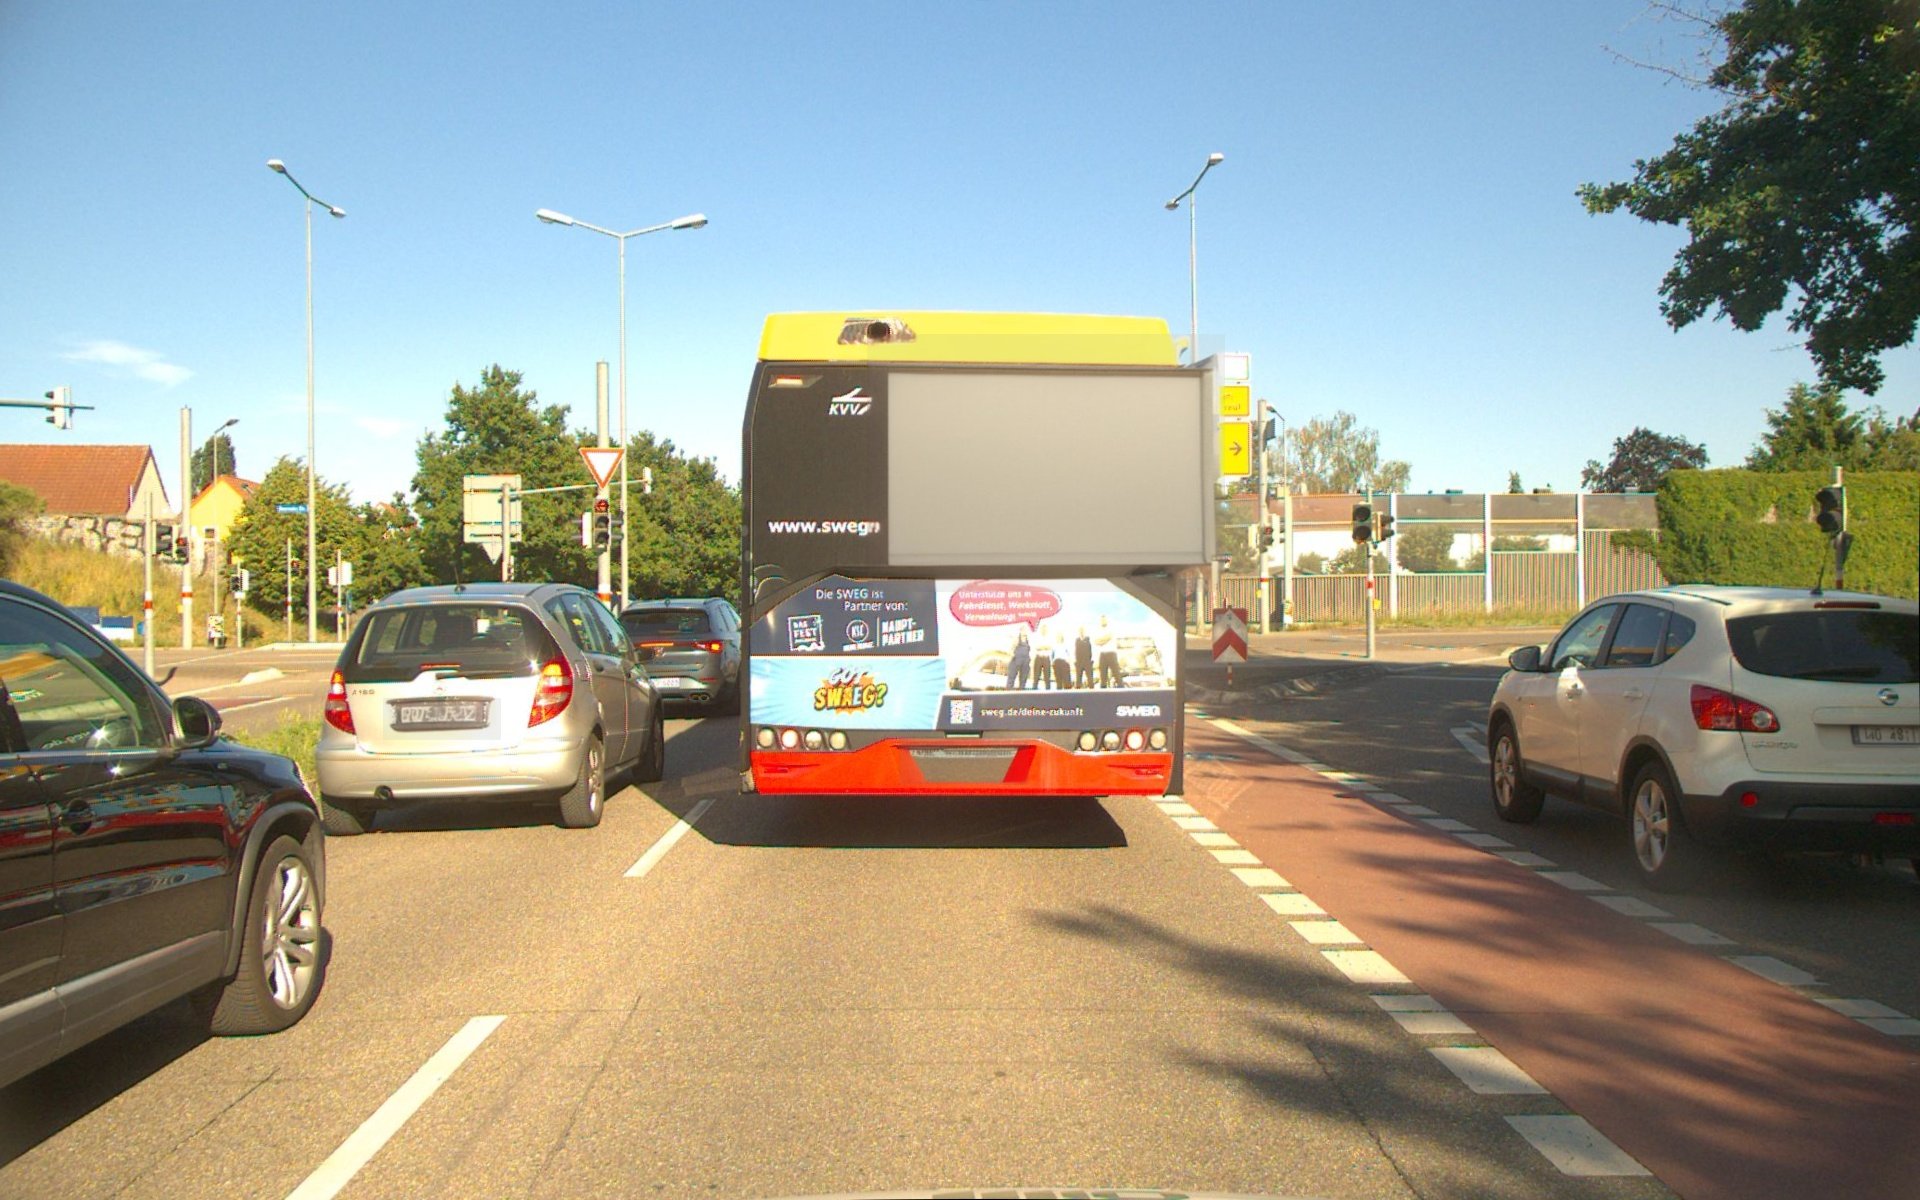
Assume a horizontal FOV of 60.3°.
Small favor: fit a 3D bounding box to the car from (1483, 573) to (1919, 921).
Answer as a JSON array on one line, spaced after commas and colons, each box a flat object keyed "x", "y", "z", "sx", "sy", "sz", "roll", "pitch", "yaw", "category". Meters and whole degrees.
[{"x": 4.532, "y": 0.687, "z": 9.856, "sx": 1.681, "sy": 1.635, "sz": 4.069, "roll": 1, "pitch": 0, "yaw": 2, "category": "car"}]

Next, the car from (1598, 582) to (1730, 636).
[{"x": 25.228, "y": 0.318, "z": 59.347, "sx": 3.907, "sy": 1.847, "sz": 1.922, "roll": 1, "pitch": 0, "yaw": -3, "category": "car"}]

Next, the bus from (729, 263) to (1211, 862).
[{"x": 0.022, "y": -0.254, "z": 14.902, "sx": 2.589, "sy": 3.222, "sz": 11.860, "roll": 0, "pitch": 0, "yaw": 0, "category": "bus"}]

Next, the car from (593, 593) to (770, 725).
[{"x": -3.449, "y": 0.676, "z": 21.068, "sx": 1.658, "sy": 1.484, "sz": 3.750, "roll": -2, "pitch": 0, "yaw": -1, "category": "car"}]

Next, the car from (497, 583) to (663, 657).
[{"x": -8.430, "y": 0.423, "z": 37.069, "sx": 1.726, "sy": 1.552, "sz": 4.082, "roll": -1, "pitch": 0, "yaw": 19, "category": "car"}]

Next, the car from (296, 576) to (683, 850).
[{"x": -3.217, "y": 0.681, "z": 12.140, "sx": 1.725, "sy": 1.617, "sz": 3.999, "roll": -2, "pitch": 0, "yaw": -1, "category": "car"}]

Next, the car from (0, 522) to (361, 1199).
[{"x": -3.144, "y": 0.686, "z": 4.313, "sx": 1.736, "sy": 1.682, "sz": 3.999, "roll": -2, "pitch": 0, "yaw": -1, "category": "car"}]
